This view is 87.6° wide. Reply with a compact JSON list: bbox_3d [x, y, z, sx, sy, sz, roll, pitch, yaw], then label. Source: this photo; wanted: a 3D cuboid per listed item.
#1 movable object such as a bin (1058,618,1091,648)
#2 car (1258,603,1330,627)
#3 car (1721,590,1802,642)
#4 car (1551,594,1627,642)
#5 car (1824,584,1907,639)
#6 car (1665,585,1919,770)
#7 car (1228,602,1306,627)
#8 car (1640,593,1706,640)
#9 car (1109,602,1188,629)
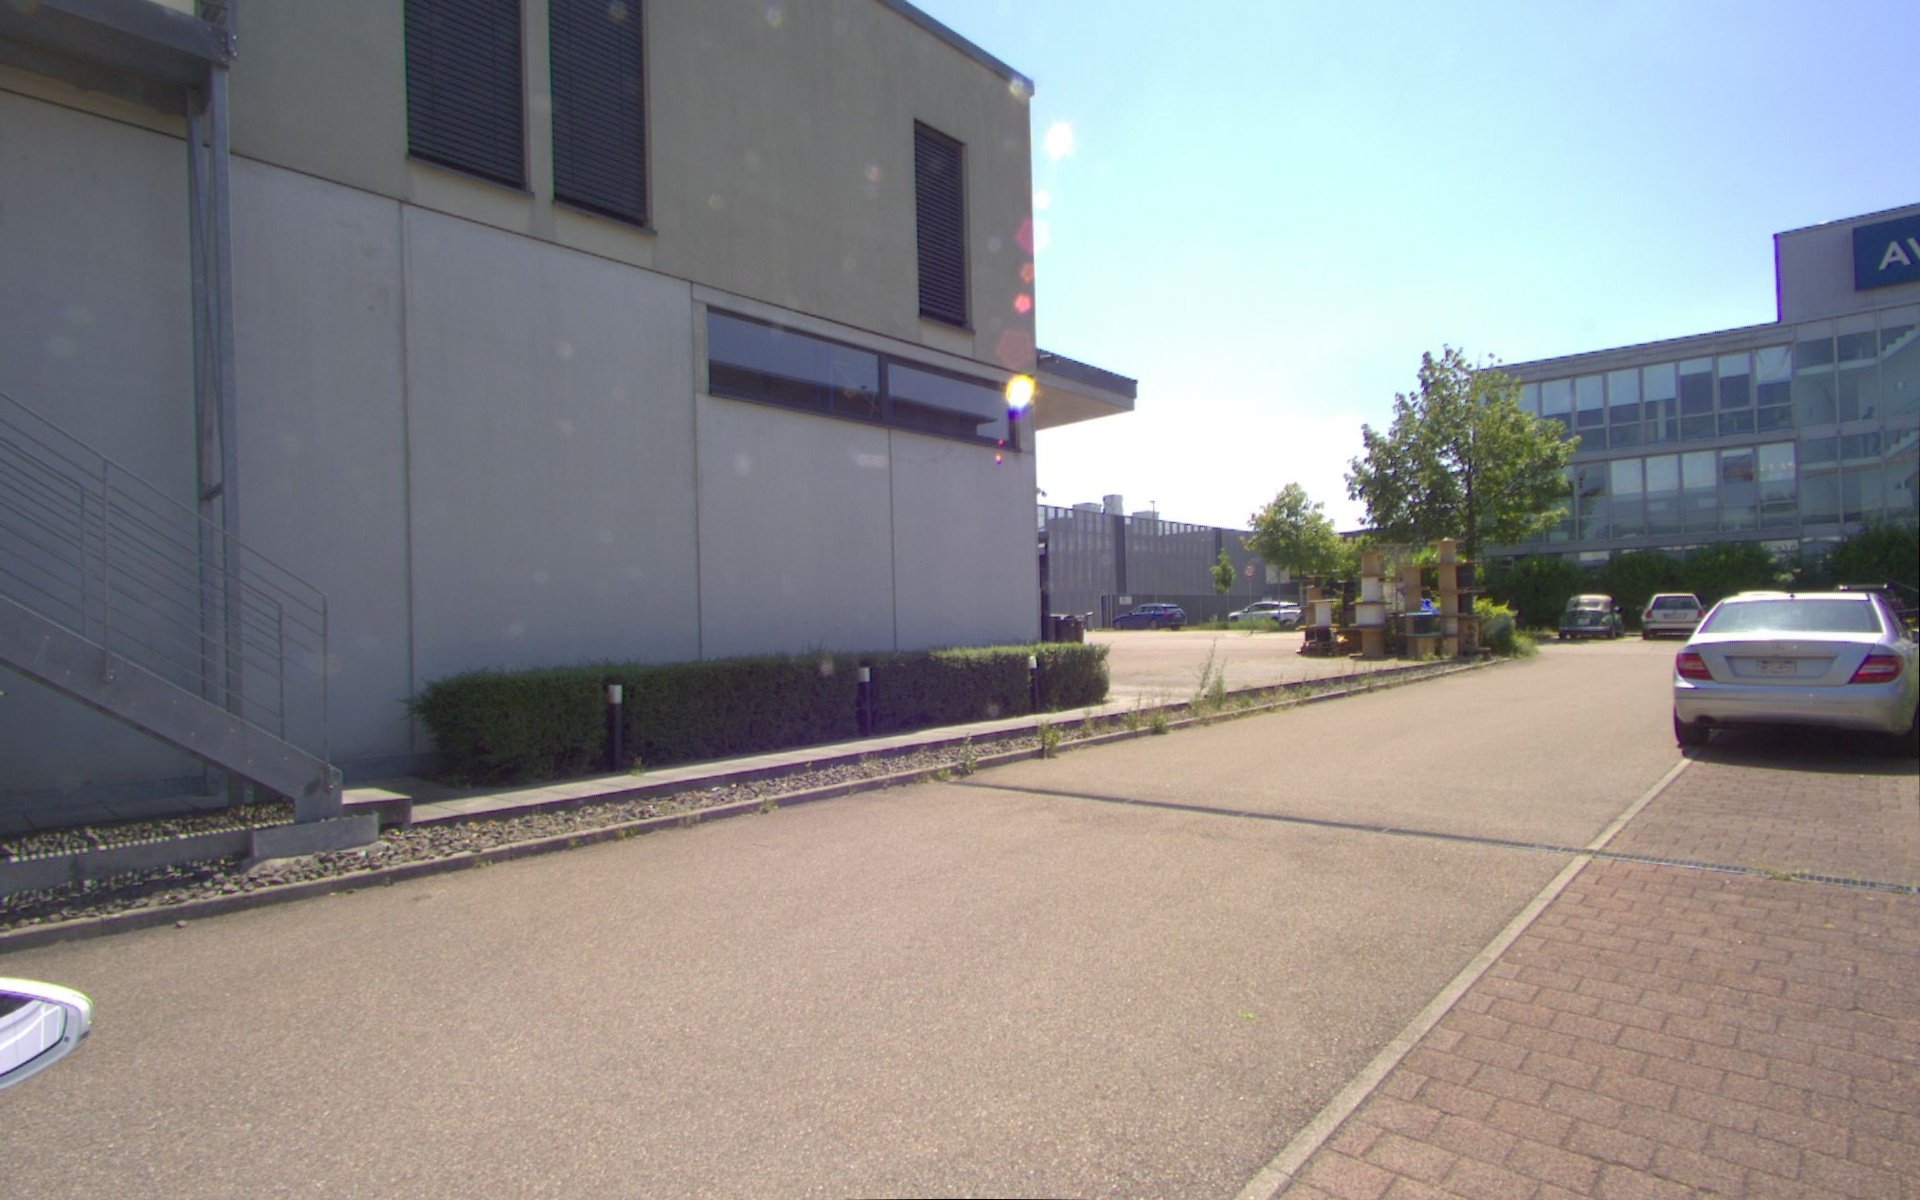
[{"bbox_3d":[3.862,1.106,33.708,0.808,0.993,0.803,-1,-1,42],"label":"movable object such as a bin"},{"bbox_3d":[20.820,0.978,62.556,1.727,1.433,4.040,1,-2,-34],"label":"car"},{"bbox_3d":[25.353,0.523,31.782,1.726,1.538,3.976,-1,-1,35],"label":"car"},{"bbox_3d":[21.478,0.627,34.152,1.729,1.538,3.971,-1,-2,39],"label":"car"},{"bbox_3d":[27.025,0.373,29.932,1.730,1.538,3.967,-1,-2,42],"label":"car"},{"bbox_3d":[8.209,0.653,9.764,1.711,1.455,3.684,-1,-2,43],"label":"car"},{"bbox_3d":[18.611,0.905,60.834,1.727,1.433,4.419,1,-2,-34],"label":"car"},{"bbox_3d":[23.332,0.554,32.823,1.652,1.459,3.976,-1,-1,35],"label":"car"},{"bbox_3d":[10.376,0.878,55.419,1.727,1.433,4.421,1,-2,-33],"label":"car"}]
